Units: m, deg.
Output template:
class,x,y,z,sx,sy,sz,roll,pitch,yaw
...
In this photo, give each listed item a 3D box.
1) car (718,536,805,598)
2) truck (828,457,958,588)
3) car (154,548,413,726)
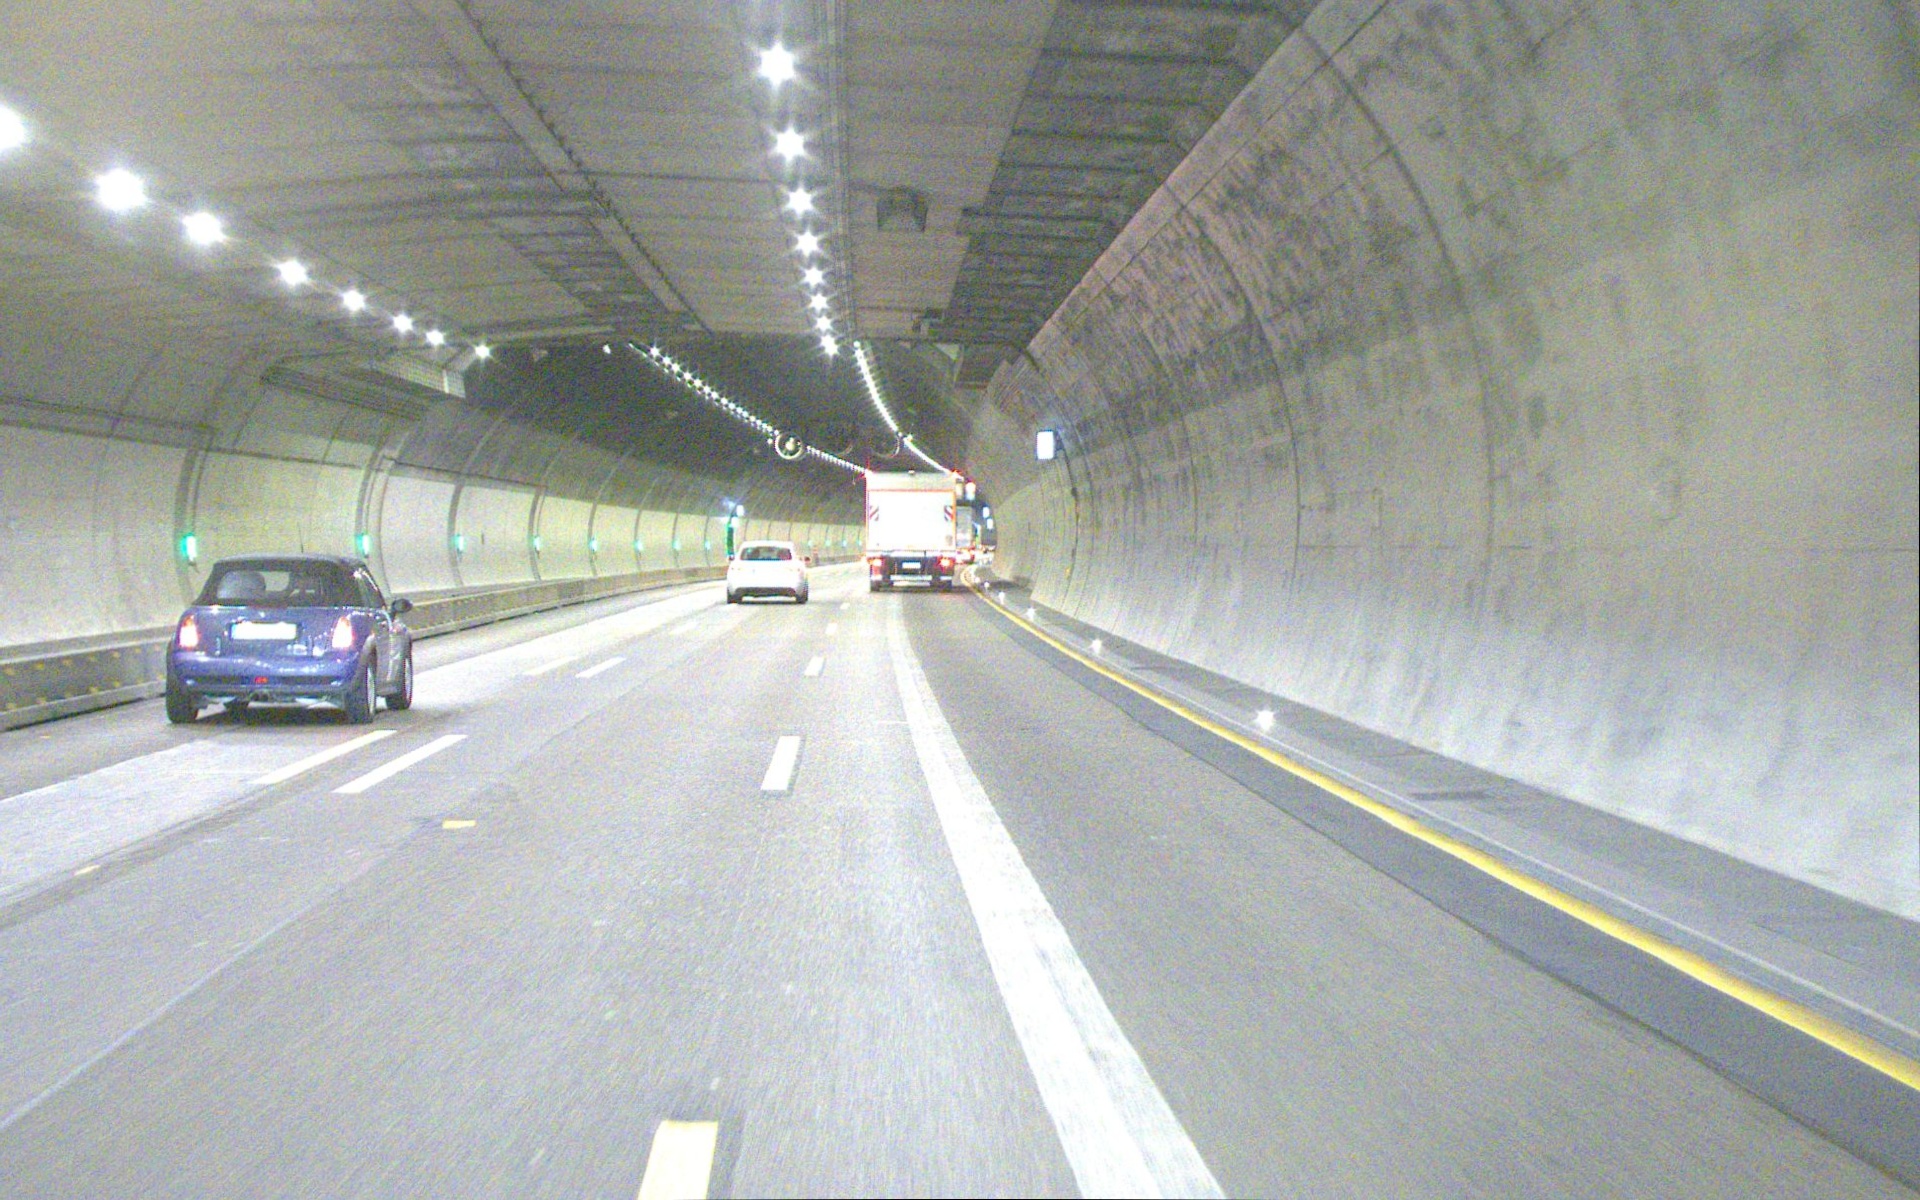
class,x,y,z,sx,sy,sz,roll,pitch,yaw
car,-4.712,-0.795,81.336,1.993,1.408,4.743,0,1,-4
truck,-1.906,-2.273,101.424,3.592,3.638,10.723,0,1,0
car,-5.774,0.271,29.729,1.689,1.412,3.923,0,1,-4
